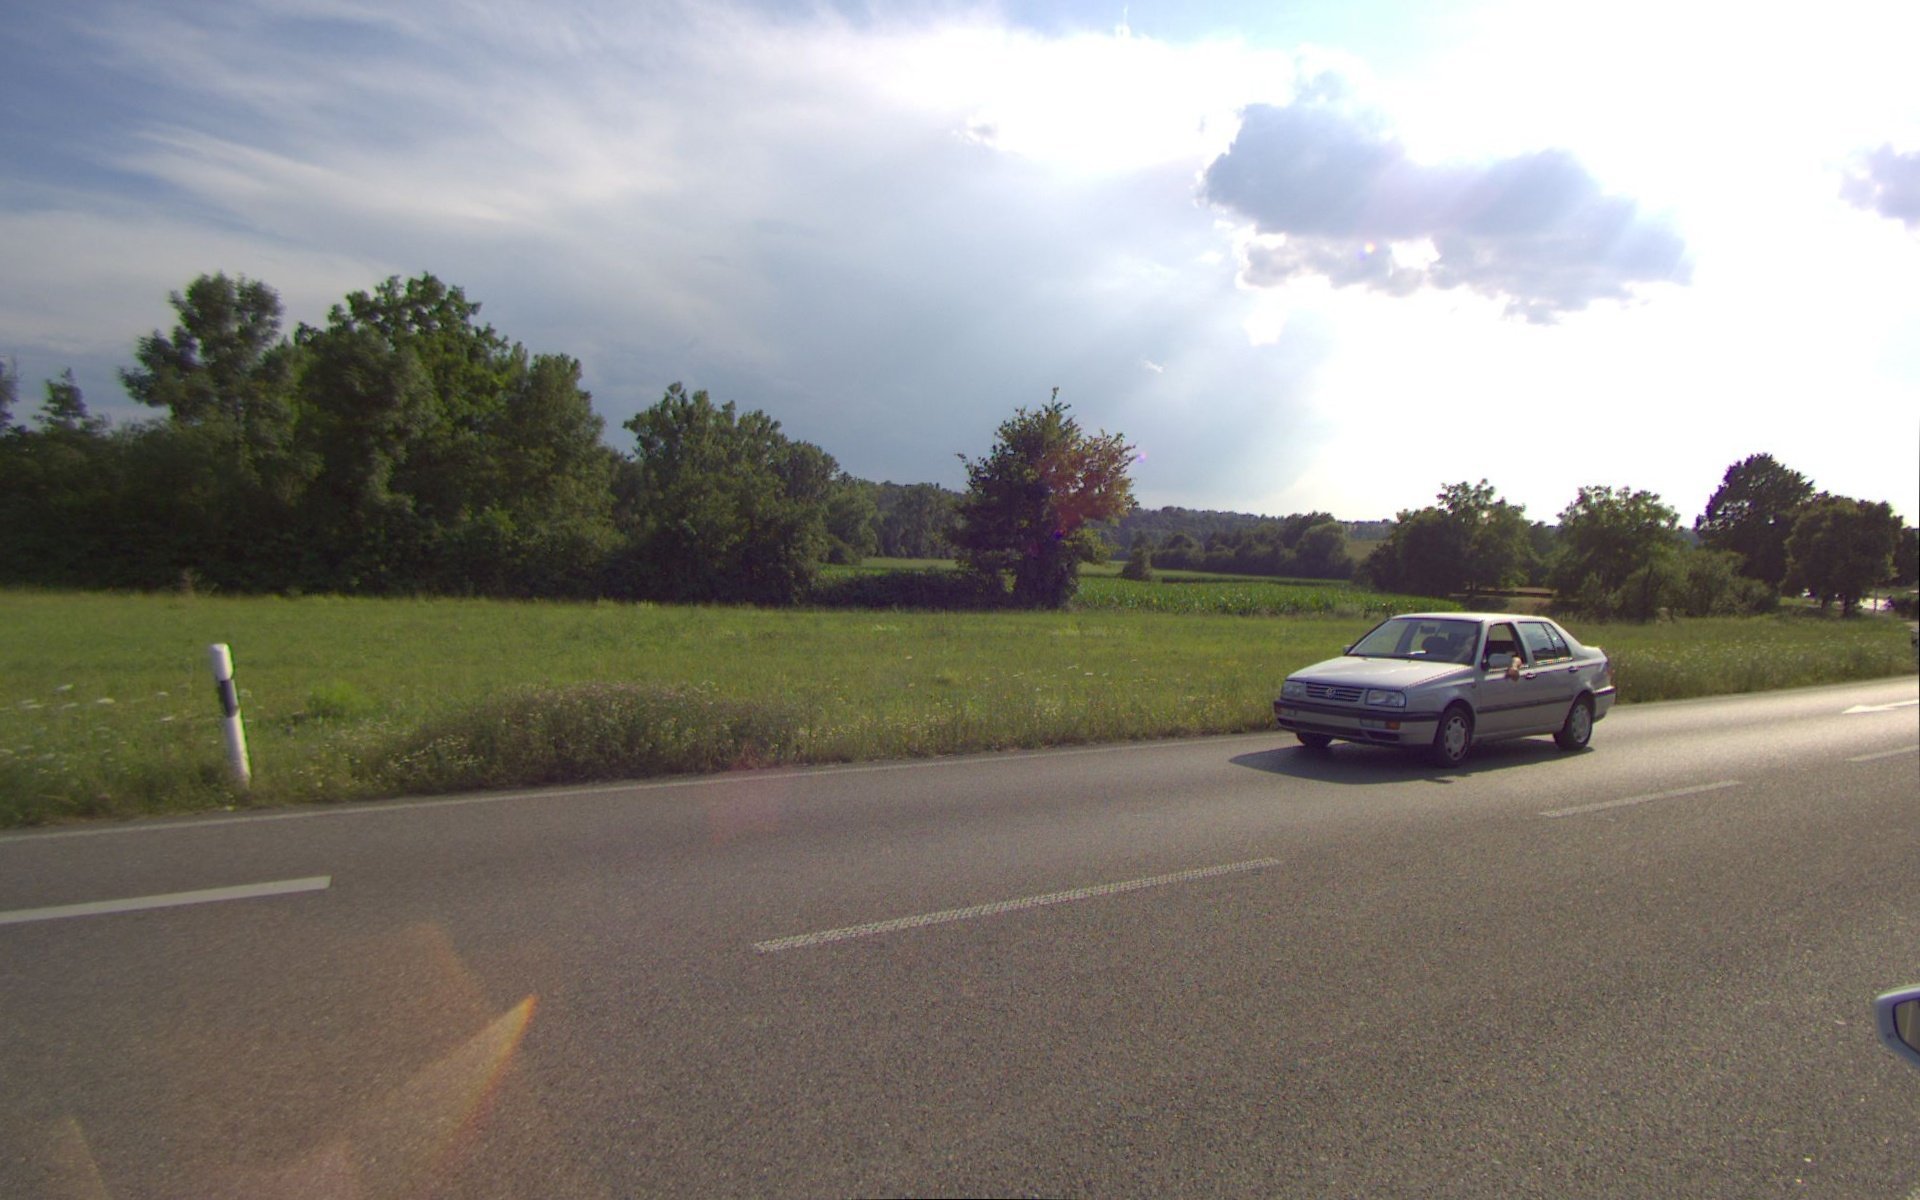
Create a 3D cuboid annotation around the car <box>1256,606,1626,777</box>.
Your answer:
[{"bbox_3d":[5.170,0.836,10.627,4.135,1.447,1.696,1,0,-35],"label":"car"}]
